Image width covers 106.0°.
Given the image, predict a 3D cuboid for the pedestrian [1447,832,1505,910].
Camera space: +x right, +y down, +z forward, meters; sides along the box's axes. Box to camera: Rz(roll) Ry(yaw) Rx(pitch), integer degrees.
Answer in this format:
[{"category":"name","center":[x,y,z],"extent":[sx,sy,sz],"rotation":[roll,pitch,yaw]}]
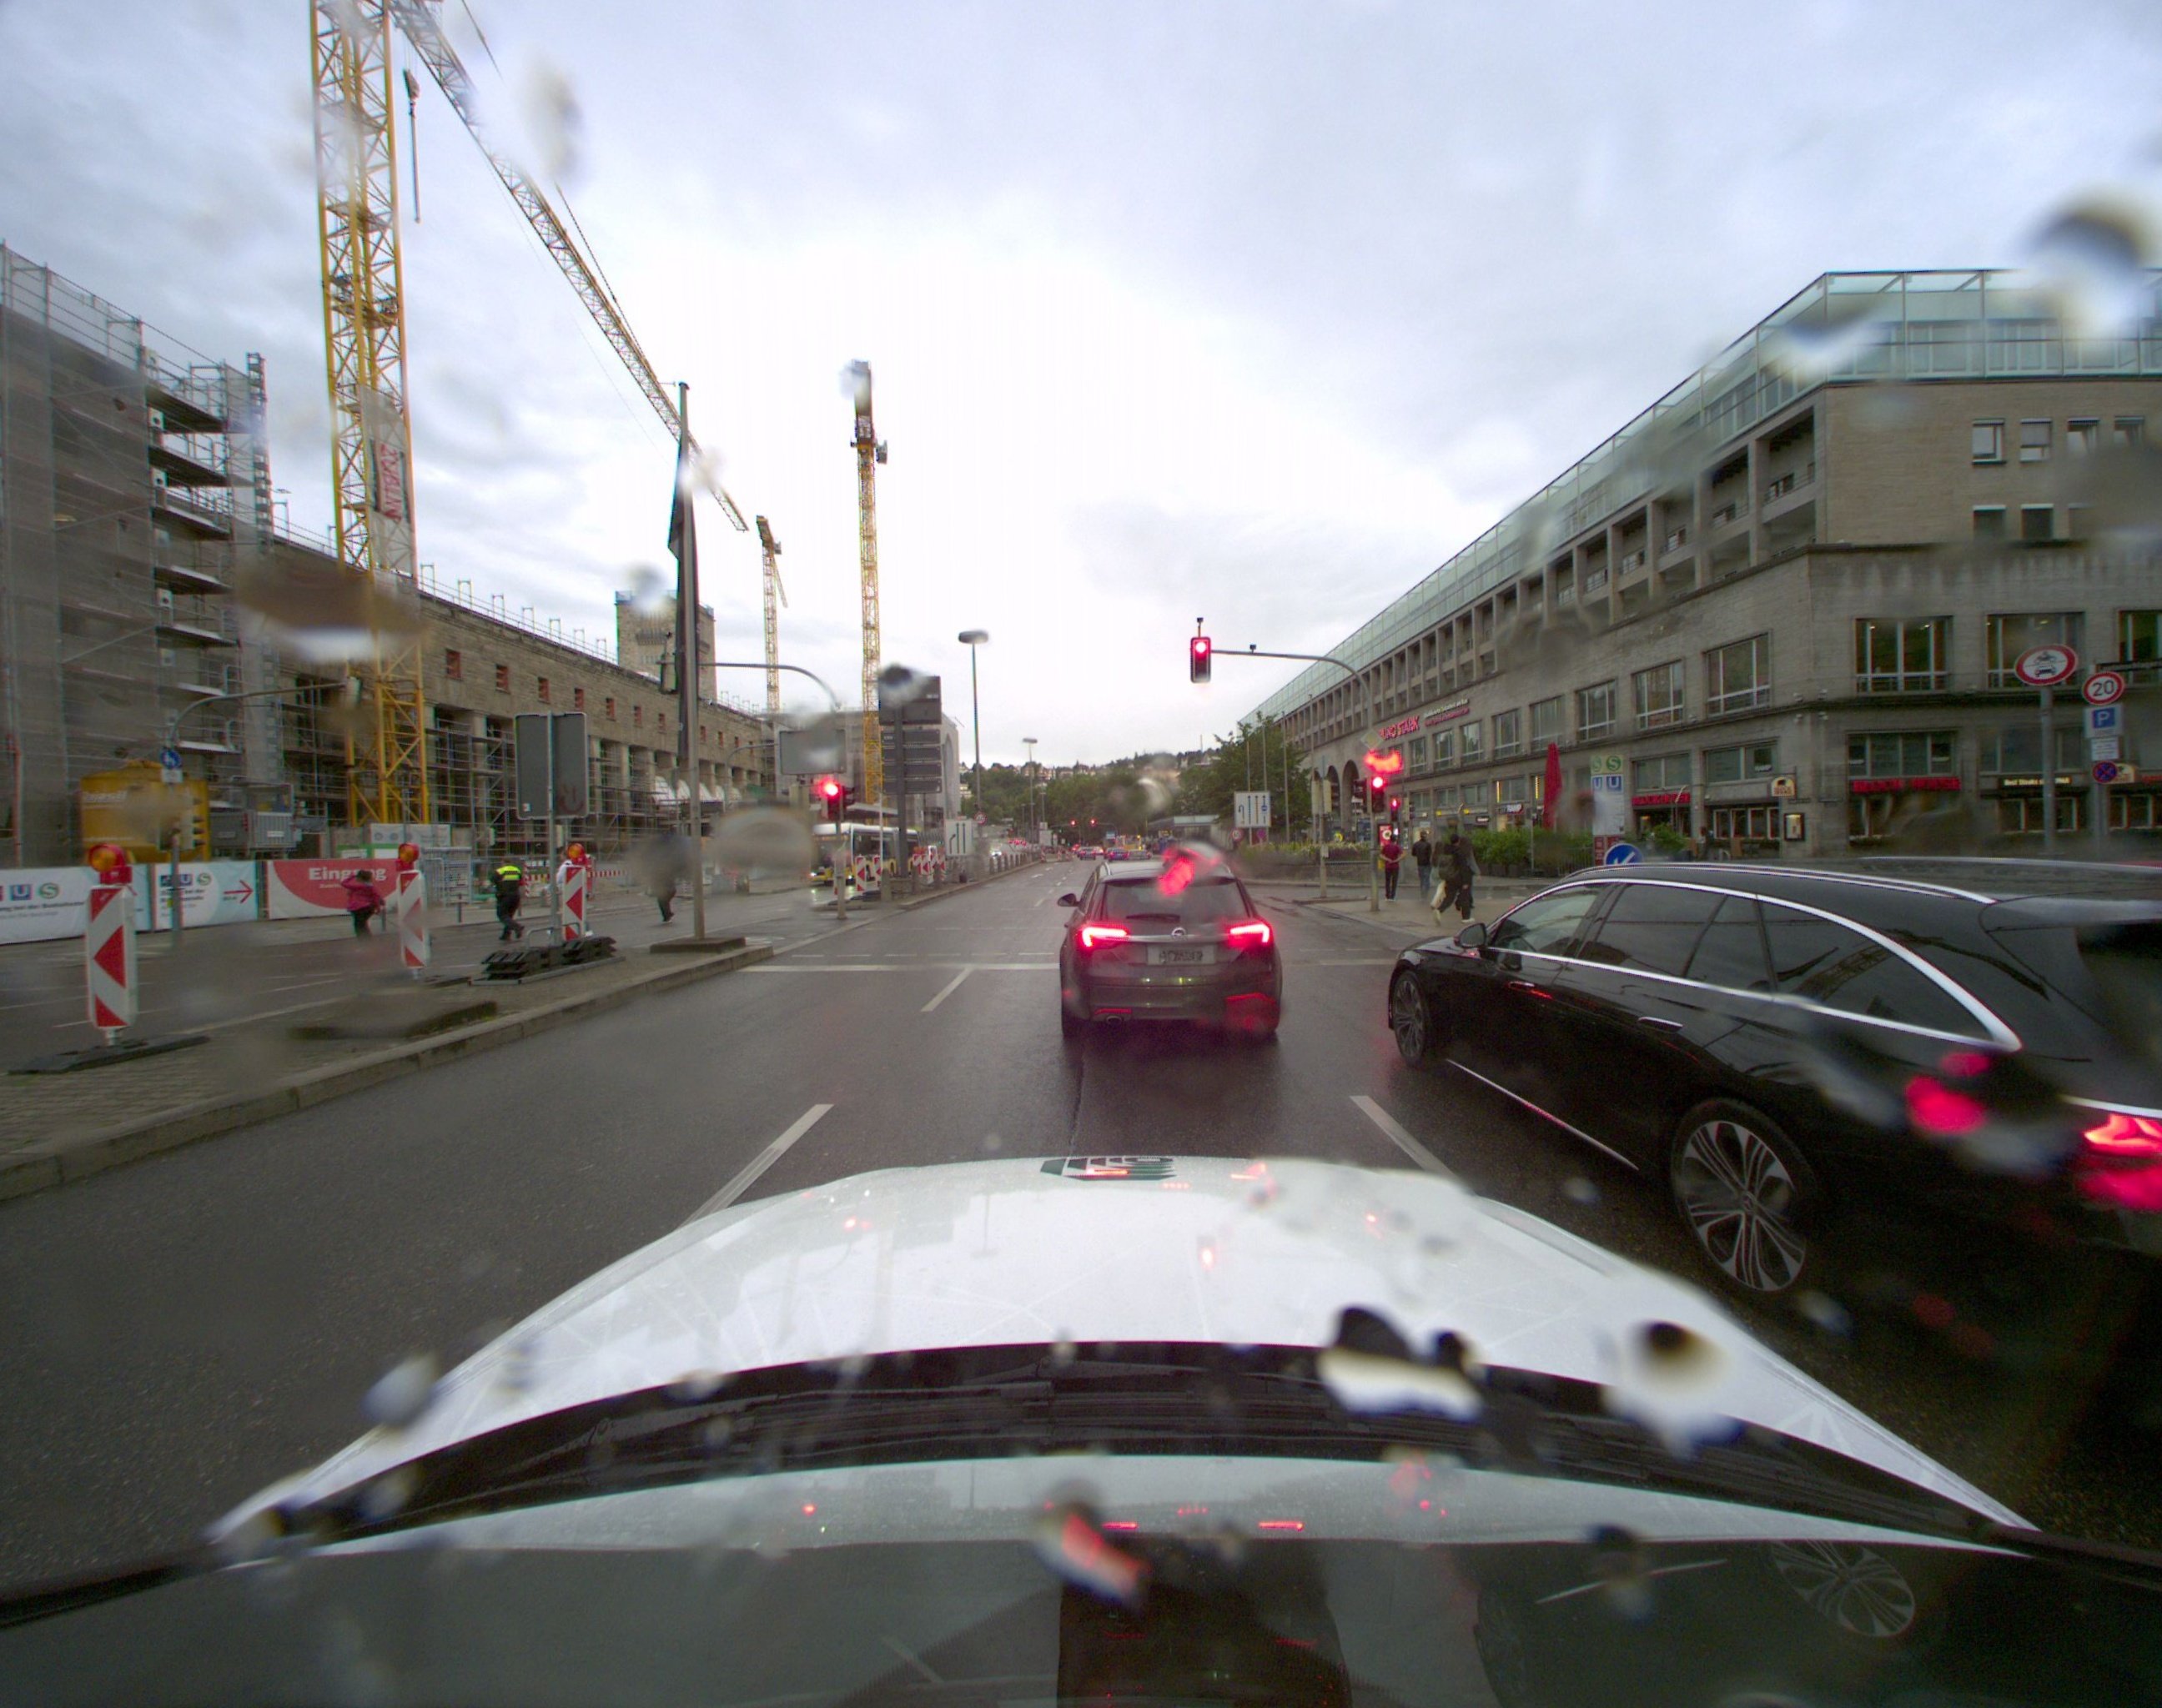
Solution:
[{"category":"pedestrian","center":[8.421,0.351,17.391],"extent":[0.791,1.626,0.899],"rotation":[0,-1,-2]}]

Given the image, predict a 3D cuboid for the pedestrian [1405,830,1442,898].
[{"category":"pedestrian","center":[8.712,0.247,20.726],"extent":[0.753,1.717,0.466],"rotation":[0,-1,-2]}]

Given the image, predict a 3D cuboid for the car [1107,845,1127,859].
[{"category":"car","center":[3.658,-0.163,82.779],"extent":[1.748,1.398,4.647],"rotation":[0,0,-1]}]

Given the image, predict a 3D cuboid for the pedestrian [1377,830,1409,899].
[{"category":"pedestrian","center":[8.123,0.277,21.200],"extent":[0.563,1.752,0.684],"rotation":[-1,-1,44]}]

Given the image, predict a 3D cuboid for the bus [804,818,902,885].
[{"category":"bus","center":[-13.384,-0.098,48.843],"extent":[2.658,3.602,10.243],"rotation":[0,0,2]}]

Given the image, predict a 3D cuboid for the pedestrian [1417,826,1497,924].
[{"category":"pedestrian","center":[7.062,0.383,15.333],"extent":[1.093,1.751,0.653],"rotation":[-3,-1,-1]}]

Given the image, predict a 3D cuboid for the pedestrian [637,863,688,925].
[{"category":"pedestrian","center":[-10.807,1.021,21.051],"extent":[0.867,1.561,0.789],"rotation":[0,-1,9]}]

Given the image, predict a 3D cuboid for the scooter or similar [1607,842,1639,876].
[{"category":"scooter or similar","center":[19.373,0.183,29.131],"extent":[0.290,1.189,1.014],"rotation":[0,-1,-17]}]

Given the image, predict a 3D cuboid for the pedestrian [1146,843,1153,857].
[{"category":"pedestrian","center":[11.499,-0.649,136.863],"extent":[1.194,2.435,1.229],"rotation":[0,-1,3]}]

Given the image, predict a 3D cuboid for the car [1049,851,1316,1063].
[{"category":"car","center":[0.762,0.737,7.746],"extent":[1.868,1.486,4.001],"rotation":[0,0,1]}]

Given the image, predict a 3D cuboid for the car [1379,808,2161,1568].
[{"category":"car","center":[3.097,0.666,3.874],"extent":[1.787,1.501,4.630],"rotation":[0,0,2]}]

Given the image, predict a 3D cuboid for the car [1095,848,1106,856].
[{"category":"car","center":[3.371,-0.363,138.018],"extent":[1.839,1.398,3.565],"rotation":[0,0,2]}]

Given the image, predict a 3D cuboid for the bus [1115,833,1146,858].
[{"category":"bus","center":[7.213,-1.132,120.947],"extent":[4.158,3.469,14.660],"rotation":[0,0,2]}]

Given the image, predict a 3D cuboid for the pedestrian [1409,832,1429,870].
[{"category":"pedestrian","center":[18.486,-0.157,44.549],"extent":[0.756,2.014,0.830],"rotation":[-1,-1,43]}]

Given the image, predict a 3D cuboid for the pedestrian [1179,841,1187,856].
[{"category":"pedestrian","center":[11.958,-0.627,95.295],"extent":[0.761,1.690,0.824],"rotation":[0,-1,-3]}]

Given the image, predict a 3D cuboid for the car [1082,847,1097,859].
[{"category":"car","center":[0.969,-0.144,96.937],"extent":[1.747,1.398,4.538],"rotation":[0,0,0]}]

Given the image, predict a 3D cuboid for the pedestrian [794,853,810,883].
[{"category":"pedestrian","center":[-15.969,0.809,46.593],"extent":[0.657,1.680,0.644],"rotation":[0,-1,2]}]

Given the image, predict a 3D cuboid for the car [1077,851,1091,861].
[{"category":"car","center":[0.444,0.349,115.751],"extent":[1.839,1.398,3.565],"rotation":[0,0,2]}]

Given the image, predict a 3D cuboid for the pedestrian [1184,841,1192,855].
[{"category":"pedestrian","center":[12.385,-0.698,94.056],"extent":[0.761,1.690,0.824],"rotation":[0,-1,-3]}]

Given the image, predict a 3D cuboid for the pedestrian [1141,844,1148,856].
[{"category":"pedestrian","center":[11.762,-0.774,150.632],"extent":[1.194,2.149,1.229],"rotation":[0,-1,3]}]

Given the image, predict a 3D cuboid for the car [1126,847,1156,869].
[{"category":"car","center":[3.804,0.264,52.492],"extent":[1.838,1.398,3.669],"rotation":[0,0,3]}]

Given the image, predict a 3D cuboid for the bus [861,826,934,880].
[{"category":"bus","center":[-13.063,-0.050,59.028],"extent":[2.658,3.602,10.215],"rotation":[0,0,2]}]

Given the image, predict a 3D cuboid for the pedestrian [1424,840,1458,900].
[{"category":"pedestrian","center":[8.925,0.400,20.212],"extent":[0.677,1.474,0.366],"rotation":[0,-1,-3]}]

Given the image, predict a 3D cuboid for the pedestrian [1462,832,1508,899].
[{"category":"pedestrian","center":[9.914,0.282,19.991],"extent":[0.797,1.608,0.619],"rotation":[0,-1,-2]}]

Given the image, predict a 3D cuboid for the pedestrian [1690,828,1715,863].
[{"category":"pedestrian","center":[26.714,-0.361,35.001],"extent":[0.750,1.512,0.721],"rotation":[-1,-1,43]}]

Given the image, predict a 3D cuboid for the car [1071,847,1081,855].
[{"category":"car","center":[-0.942,-0.605,150.214],"extent":[1.752,1.398,3.565],"rotation":[0,0,2]}]

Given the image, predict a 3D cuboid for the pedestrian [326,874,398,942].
[{"category":"pedestrian","center":[-17.243,1.277,19.543],"extent":[0.912,1.563,0.899],"rotation":[0,-1,-2]}]

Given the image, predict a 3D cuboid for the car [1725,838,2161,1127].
[{"category":"car","center":[6.499,0.658,4.822],"extent":[1.868,1.486,4.527],"rotation":[0,0,1]}]

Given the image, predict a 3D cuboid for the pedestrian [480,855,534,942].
[{"category":"pedestrian","center":[-12.482,0.947,17.717],"extent":[0.576,1.836,0.820],"rotation":[0,-1,2]}]

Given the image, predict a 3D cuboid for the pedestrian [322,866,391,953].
[{"category":"pedestrian","center":[-14.904,1.131,16.770],"extent":[0.797,1.717,0.619],"rotation":[-3,0,-2]}]

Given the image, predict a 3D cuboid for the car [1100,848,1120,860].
[{"category":"car","center":[3.532,0.005,100.103],"extent":[1.753,1.398,4.388],"rotation":[0,0,-9]}]

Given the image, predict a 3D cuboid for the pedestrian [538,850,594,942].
[{"category":"pedestrian","center":[-10.770,0.858,17.058],"extent":[0.798,1.890,0.618],"rotation":[0,-1,-7]}]
